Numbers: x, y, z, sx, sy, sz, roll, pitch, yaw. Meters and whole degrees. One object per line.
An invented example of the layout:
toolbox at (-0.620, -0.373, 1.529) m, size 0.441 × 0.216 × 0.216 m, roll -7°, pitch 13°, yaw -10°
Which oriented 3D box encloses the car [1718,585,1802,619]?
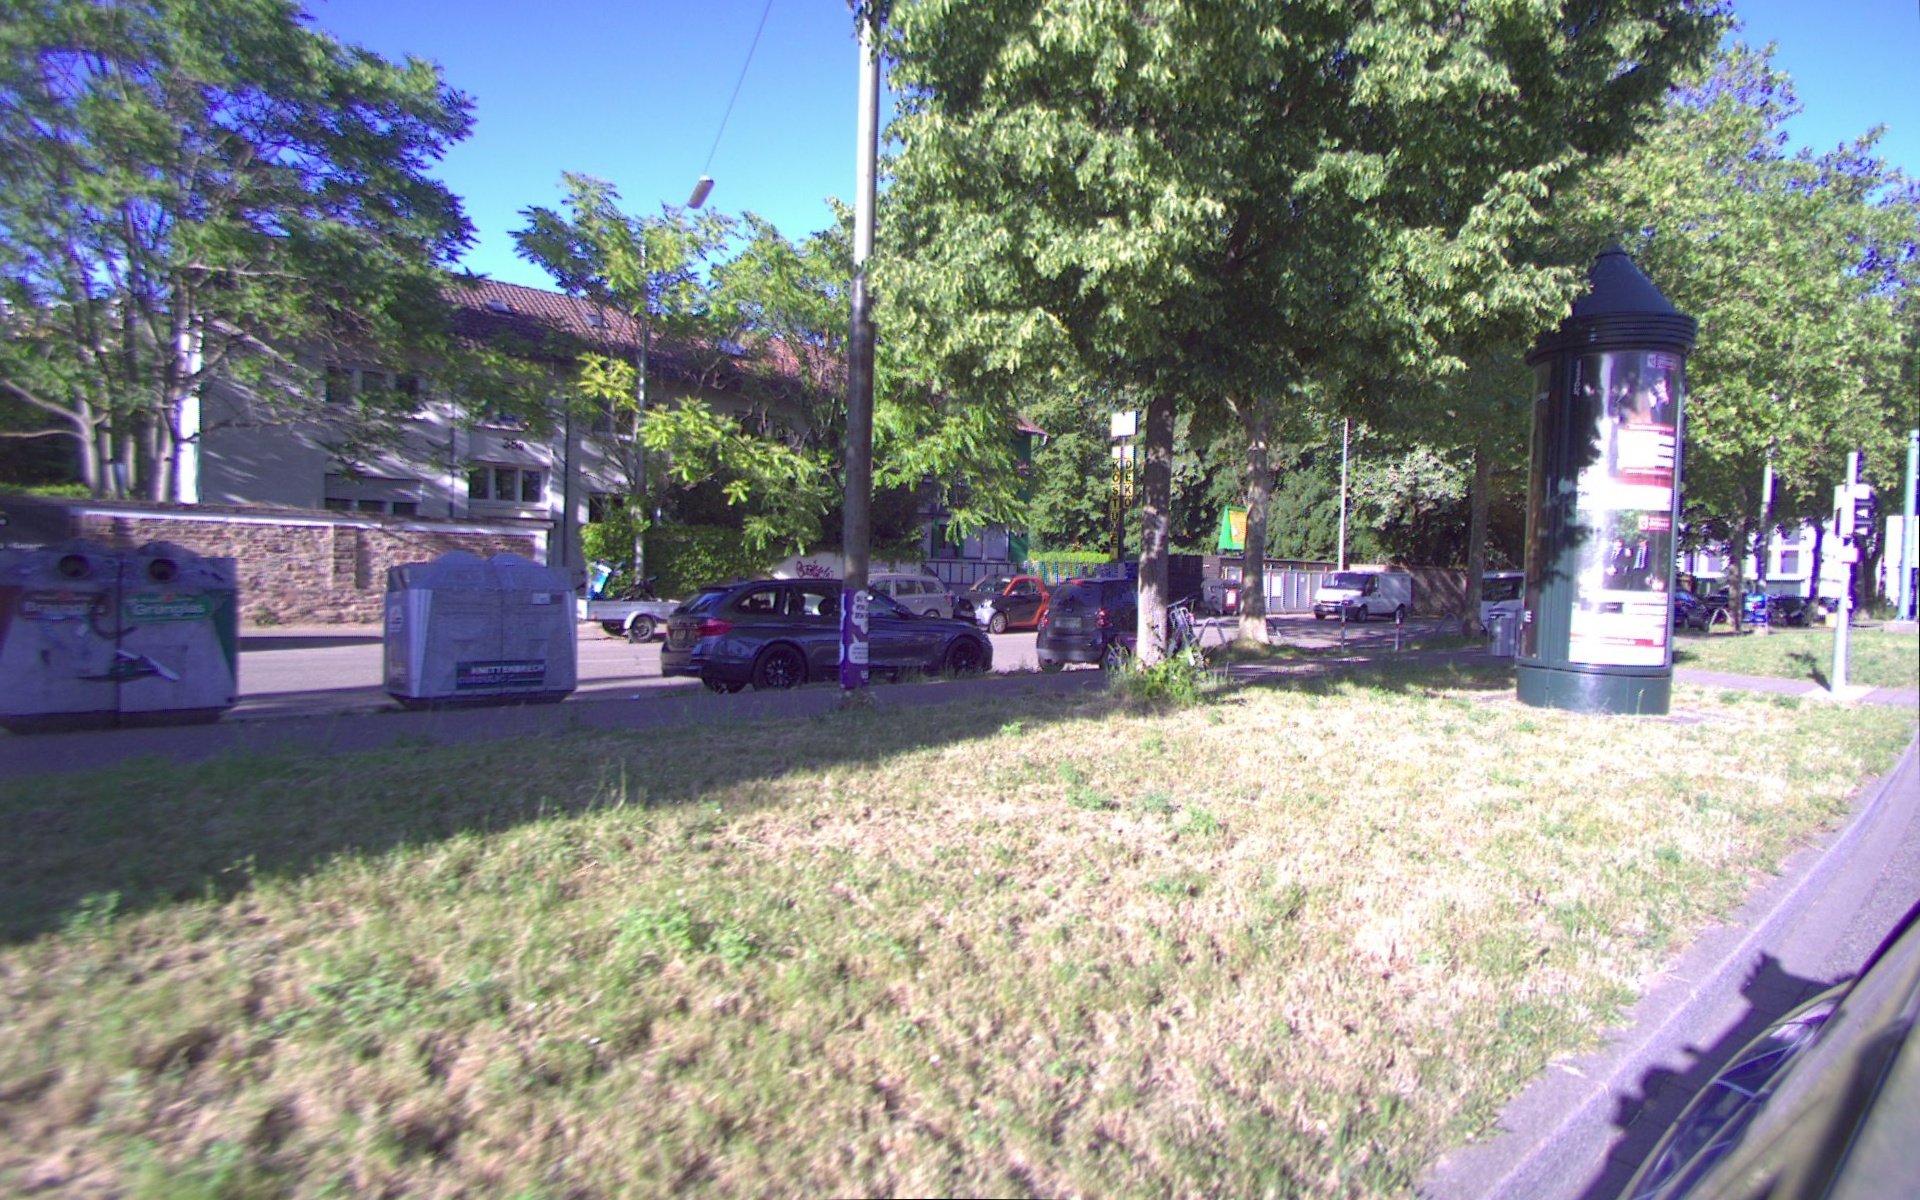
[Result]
car at (34.772, 0.085, 43.923) m, size 4.594 × 1.399 × 1.997 m, roll 0°, pitch 0°, yaw -40°

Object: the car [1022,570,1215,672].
car at (2.642, 0.290, 16.691) m, size 2.937 × 1.519 × 1.665 m, roll -1°, pitch 1°, yaw -41°

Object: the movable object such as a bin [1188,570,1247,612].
movable object such as a bin at (9.989, -0.363, 39.261) m, size 1.461 × 1.487 × 1.646 m, roll -1°, pitch 5°, yaw -44°

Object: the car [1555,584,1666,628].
car at (20.620, 0.148, 32.045) m, size 3.983 × 1.306 × 1.996 m, roll -1°, pitch 1°, yaw -42°

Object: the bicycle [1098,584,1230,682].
bicycle at (2.413, 0.347, 11.814) m, size 1.871 × 1.059 × 0.493 m, roll -1°, pitch 1°, yaw -42°

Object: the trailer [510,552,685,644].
trailer at (-7.388, -0.082, 20.677) m, size 2.969 × 1.660 × 1.735 m, roll -1°, pitch 5°, yaw -39°

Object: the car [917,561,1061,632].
car at (0.807, -0.139, 27.322) m, size 3.421 × 1.626 × 1.997 m, roll -1°, pitch 6°, yaw -44°

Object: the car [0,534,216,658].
car at (-13.771, -0.108, 15.275) m, size 3.932 × 1.659 × 1.998 m, roll -1°, pitch 5°, yaw -42°

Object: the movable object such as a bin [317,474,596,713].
movable object such as a bin at (-5.042, -0.082, 10.098) m, size 2.098 × 2.039 × 2.086 m, roll -1°, pitch 1°, yaw -39°

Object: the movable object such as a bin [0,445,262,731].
movable object such as a bin at (-7.122, -0.106, 8.349) m, size 2.098 × 2.039 × 2.086 m, roll -1°, pitch 1°, yaw -39°

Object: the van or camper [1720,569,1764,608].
van or camper at (60.109, -0.877, 77.778) m, size 1.995 × 2.763 × 4.886 m, roll 7°, pitch 5°, yaw 43°

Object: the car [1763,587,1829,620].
car at (39.100, 0.135, 47.306) m, size 3.817 × 1.456 × 1.796 m, roll -1°, pitch 1°, yaw -42°

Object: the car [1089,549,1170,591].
car at (8.771, -1.527, 52.204) m, size 3.927 × 2.039 × 1.999 m, roll -1°, pitch 1°, yaw -38°

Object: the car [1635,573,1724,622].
car at (25.872, -0.134, 36.351) m, size 4.278 × 1.662 × 1.739 m, roll -1°, pitch 1°, yaw -42°

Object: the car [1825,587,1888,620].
car at (44.573, 0.156, 50.318) m, size 3.949 × 1.580 × 1.796 m, roll -1°, pitch 0°, yaw -40°

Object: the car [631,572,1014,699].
car at (-1.698, 0.352, 13.371) m, size 4.658 × 1.402 × 2.005 m, roll -1°, pitch 1°, yaw -38°

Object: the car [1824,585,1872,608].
car at (67.199, -0.305, 76.645) m, size 1.983 × 1.660 × 3.957 m, roll 1°, pitch 1°, yaw 30°

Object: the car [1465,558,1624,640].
car at (16.300, -0.074, 28.081) m, size 5.721 × 2.039 × 2.193 m, roll -1°, pitch 1°, yaw -42°

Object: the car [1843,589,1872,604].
car at (107.096, -0.434, 120.729) m, size 4.325 × 1.503 × 1.999 m, roll -1°, pitch 6°, yaw -41°

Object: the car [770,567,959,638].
car at (-2.302, 0.012, 24.921) m, size 4.247 × 1.500 × 1.999 m, roll -1°, pitch 4°, yaw -39°

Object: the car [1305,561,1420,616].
car at (15.983, -0.463, 40.067) m, size 4.853 × 2.038 × 2.092 m, roll 0°, pitch 2°, yaw -39°

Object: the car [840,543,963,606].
car at (-1.930, -0.808, 32.594) m, size 1.818 × 1.874 × 4.089 m, roll -1°, pitch 1°, yaw -42°
